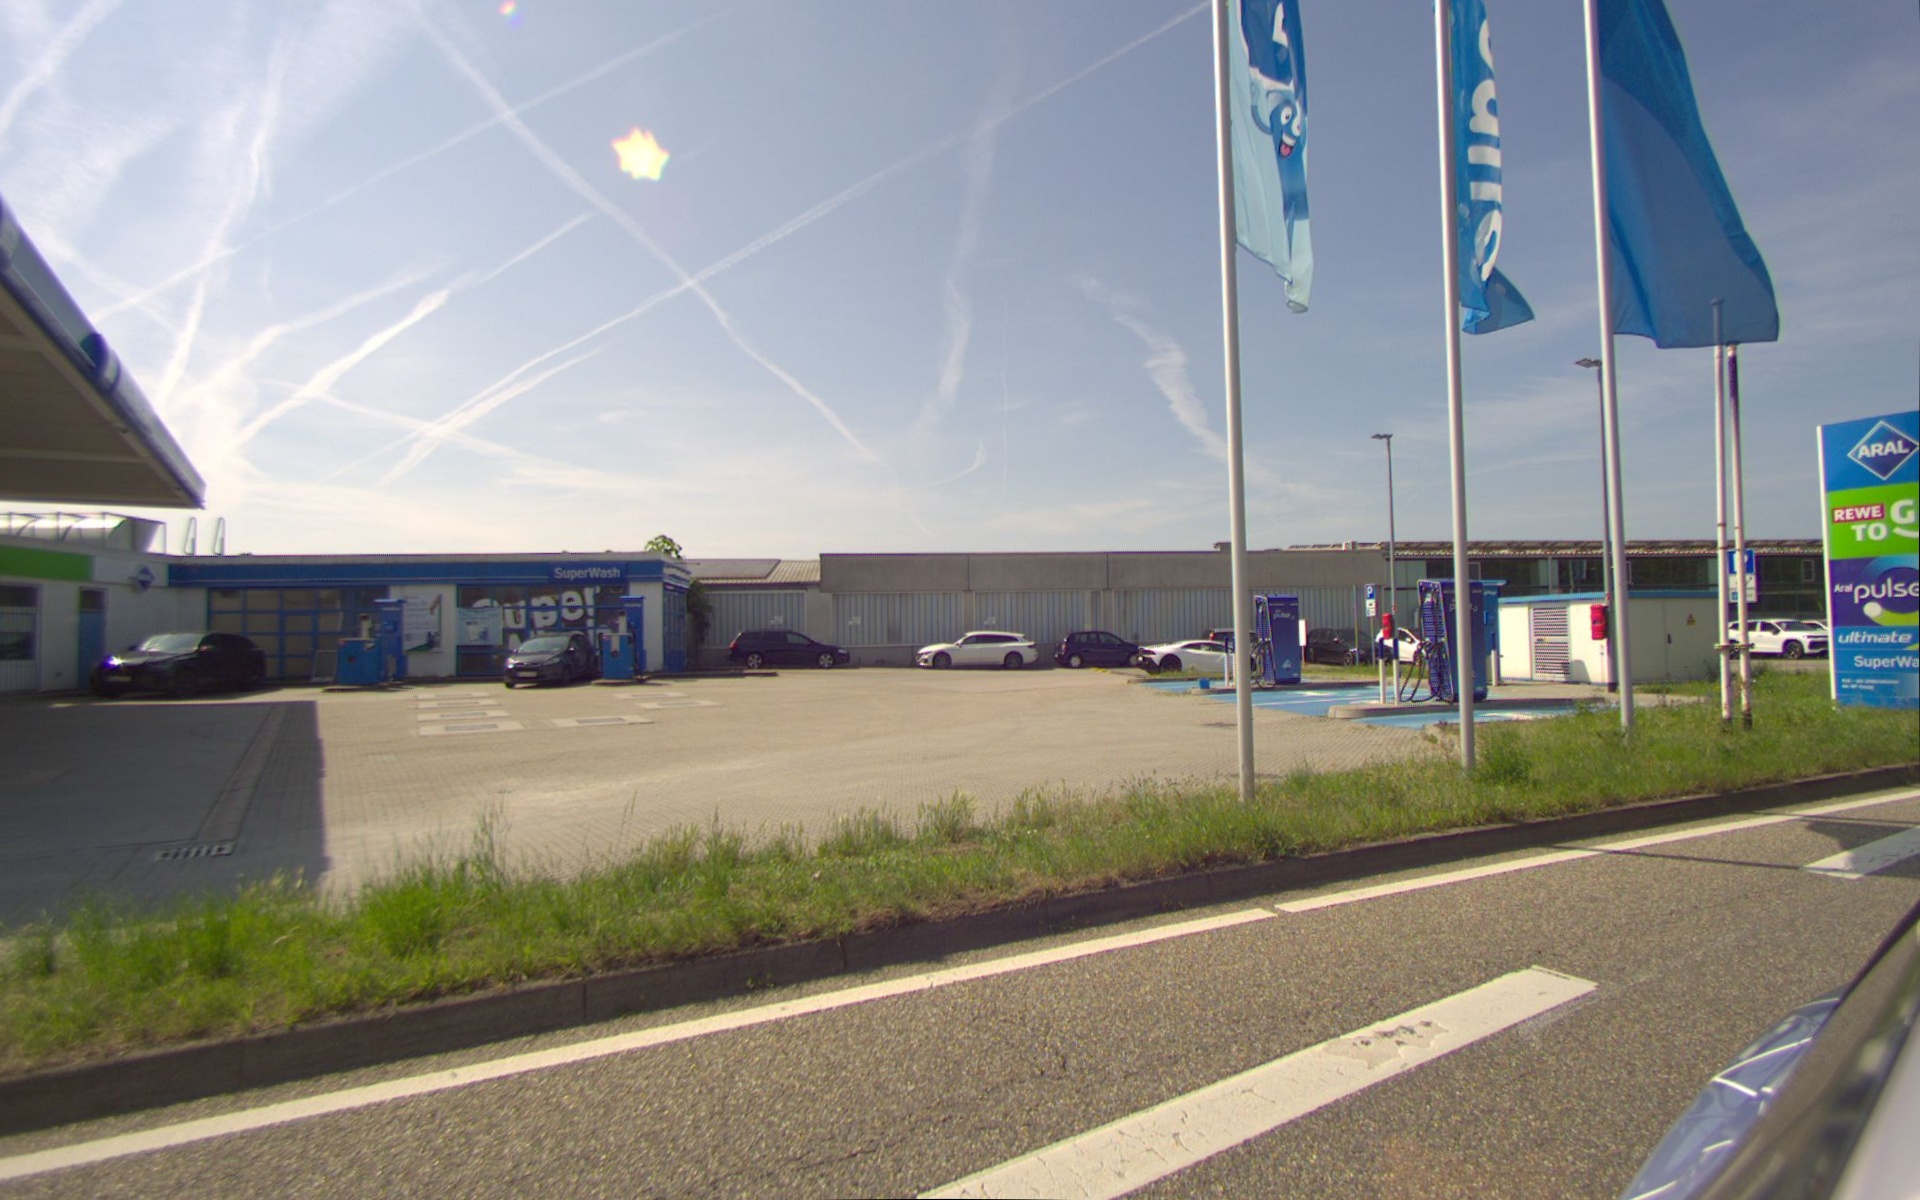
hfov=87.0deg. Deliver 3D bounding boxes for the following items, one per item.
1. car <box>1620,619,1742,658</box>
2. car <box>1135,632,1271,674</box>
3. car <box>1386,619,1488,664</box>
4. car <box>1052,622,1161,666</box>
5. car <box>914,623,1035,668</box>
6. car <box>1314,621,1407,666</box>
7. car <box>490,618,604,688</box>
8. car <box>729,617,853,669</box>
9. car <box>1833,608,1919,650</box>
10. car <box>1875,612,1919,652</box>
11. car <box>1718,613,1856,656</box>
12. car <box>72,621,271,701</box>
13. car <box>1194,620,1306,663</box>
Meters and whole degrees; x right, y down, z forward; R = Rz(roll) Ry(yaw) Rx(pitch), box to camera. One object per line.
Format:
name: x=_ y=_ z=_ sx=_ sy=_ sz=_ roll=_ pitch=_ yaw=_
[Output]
car: x=28.840 y=1.520 z=40.638 sx=1.786 sy=1.477 sz=4.048 roll=1 pitch=-2 yaw=-4
car: x=8.048 y=1.751 z=33.691 sx=4.043 sy=1.269 sz=1.700 roll=-1 pitch=-1 yaw=-5
car: x=18.269 y=1.567 z=38.974 sx=1.853 sy=1.625 sz=4.022 roll=-1 pitch=-1 yaw=-2
car: x=5.787 y=1.728 z=40.317 sx=3.940 sy=1.625 sz=1.892 roll=-1 pitch=-1 yaw=-5
car: x=0.531 y=1.749 z=39.455 sx=4.438 sy=1.625 sz=1.892 roll=-1 pitch=-1 yaw=-8
car: x=15.463 y=1.656 z=39.302 sx=1.853 sy=1.625 sz=4.022 roll=-1 pitch=-1 yaw=-2
car: x=-11.712 y=1.454 z=29.023 sx=1.853 sy=1.849 sz=4.174 roll=-1 pitch=-1 yaw=-4
car: x=-6.454 y=1.624 z=38.697 sx=4.559 sy=1.849 sz=1.893 roll=-1 pitch=-1 yaw=-10
car: x=38.983 y=1.190 z=41.747 sx=1.786 sy=1.659 sz=4.468 roll=1 pitch=-2 yaw=-4
car: x=41.349 y=1.361 z=42.389 sx=1.786 sy=1.659 sz=4.468 roll=1 pitch=-2 yaw=-4
car: x=33.974 y=1.390 z=41.772 sx=1.786 sy=1.659 sz=4.468 roll=1 pitch=-2 yaw=-4
car: x=-20.674 y=1.597 z=26.847 sx=1.865 sy=1.850 sz=4.736 roll=-2 pitch=-3 yaw=-5
car: x=11.656 y=1.659 z=40.867 sx=3.944 sy=1.625 sz=1.890 roll=-1 pitch=-1 yaw=-1
